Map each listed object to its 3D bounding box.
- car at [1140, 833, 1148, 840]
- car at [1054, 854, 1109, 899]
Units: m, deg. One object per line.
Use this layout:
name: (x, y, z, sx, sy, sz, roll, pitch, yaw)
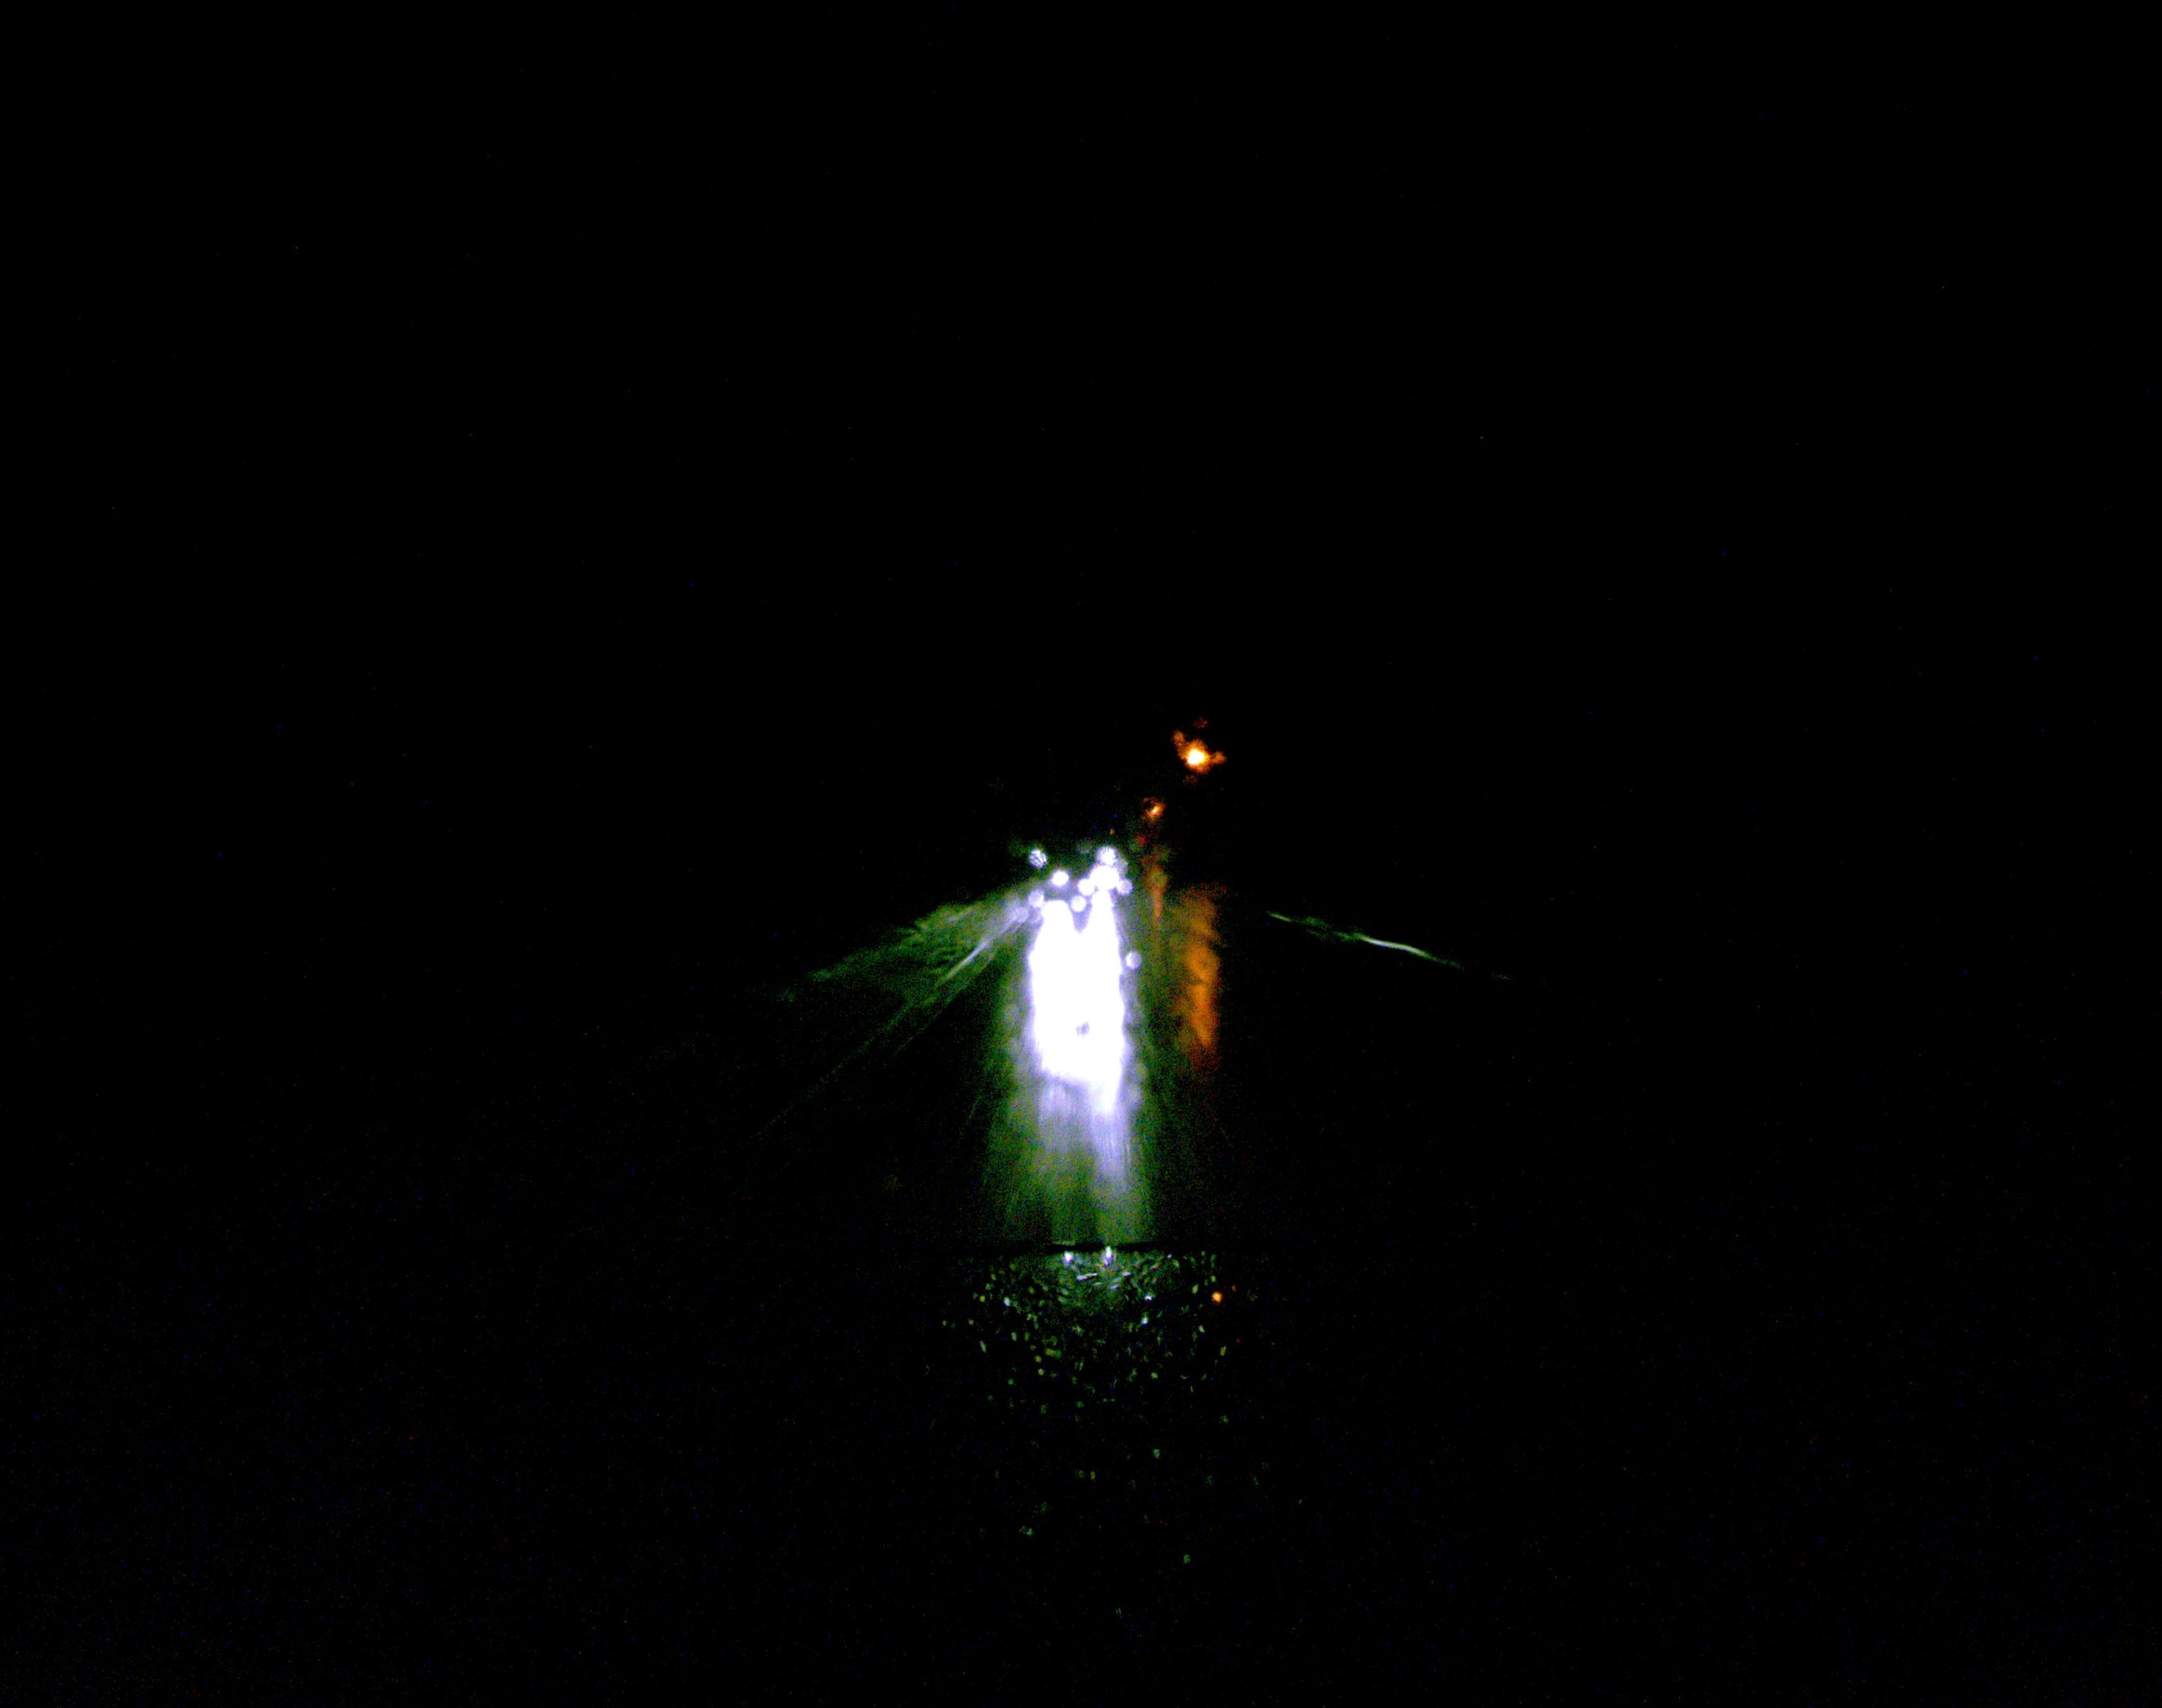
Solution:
car: (15.714, -4.352, 189.716, 1.918, 1.467, 4.203, -2, 2, 6)
car: (0.112, 0.837, 30.158, 1.944, 1.580, 4.776, -2, -1, 2)
